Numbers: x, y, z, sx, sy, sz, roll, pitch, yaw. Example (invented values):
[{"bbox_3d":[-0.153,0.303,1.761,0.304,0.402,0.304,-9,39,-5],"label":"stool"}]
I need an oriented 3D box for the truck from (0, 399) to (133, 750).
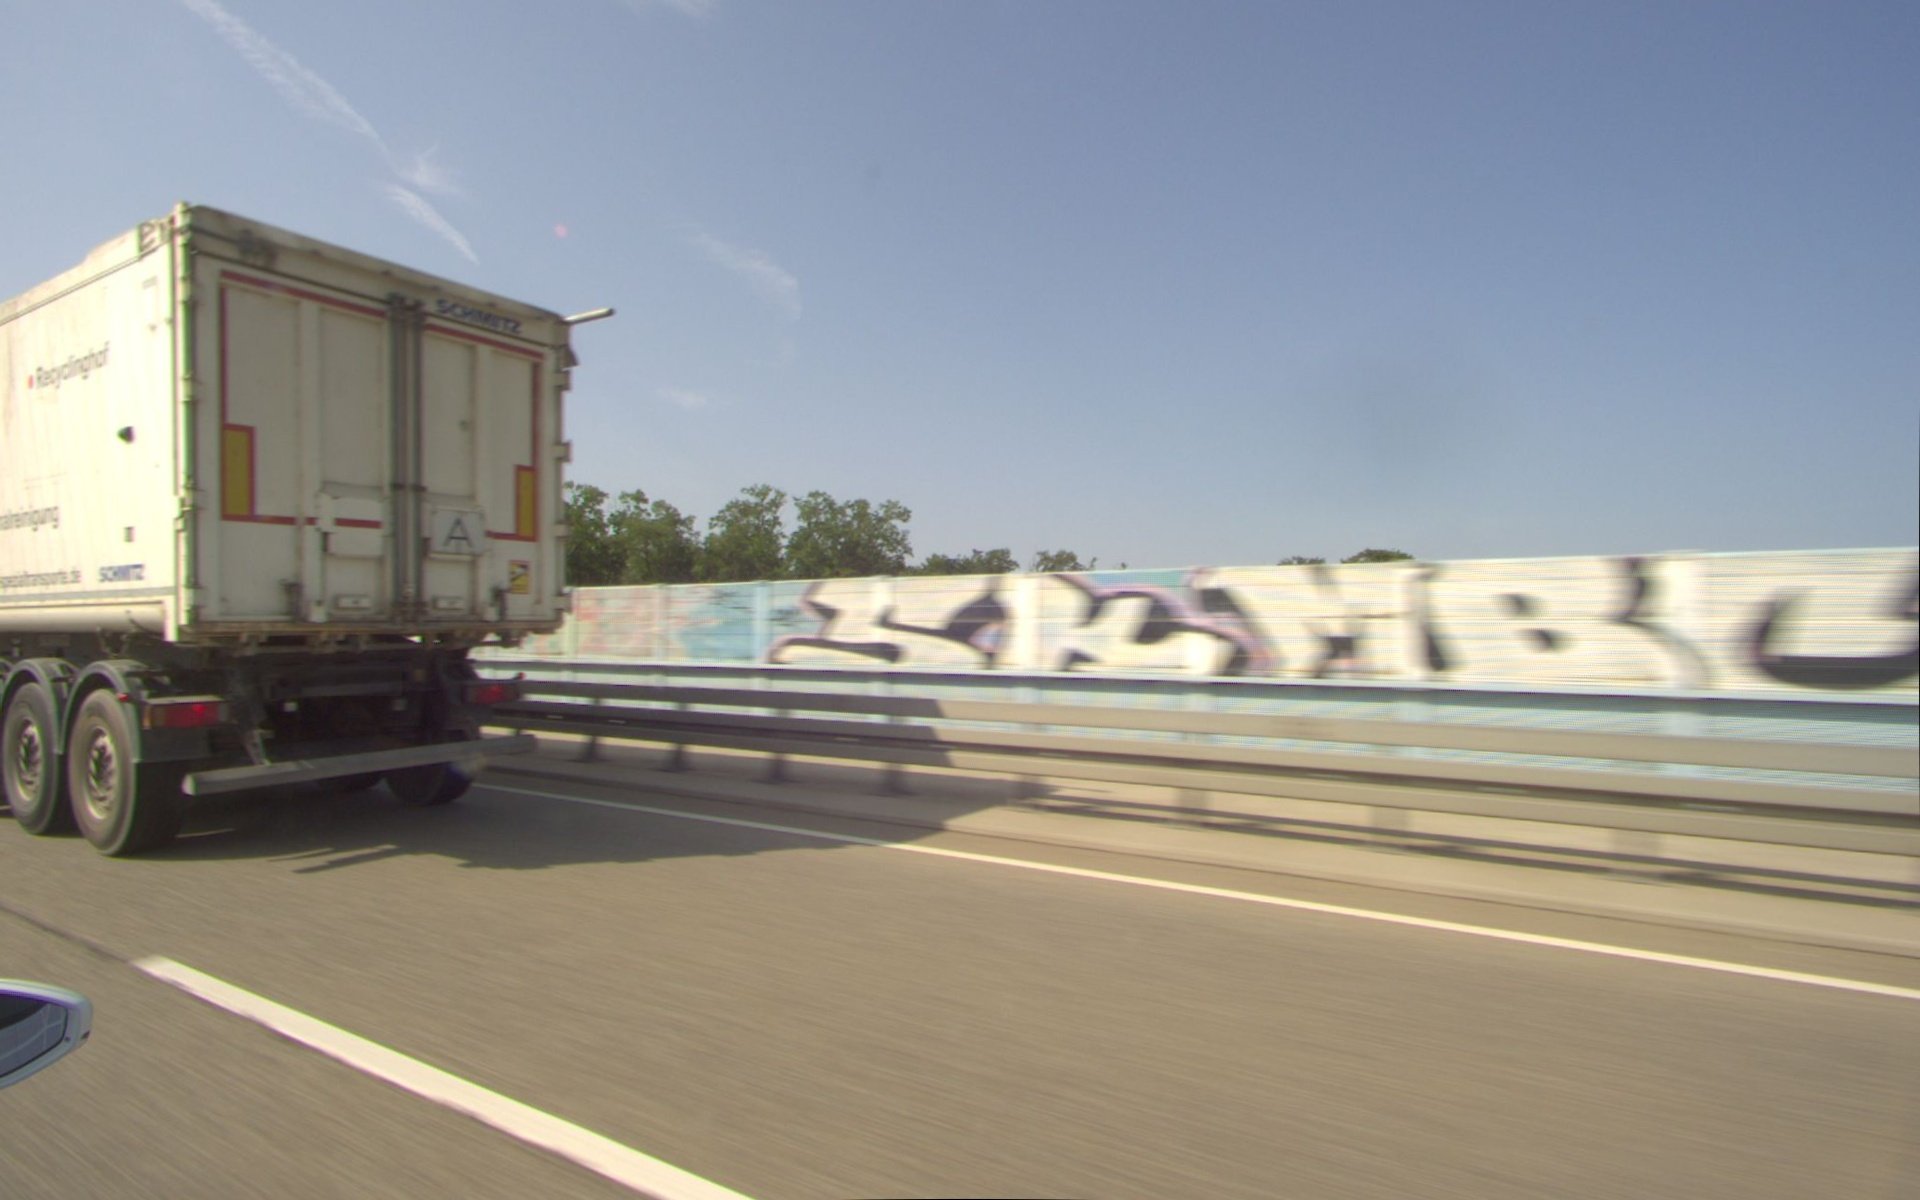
[{"bbox_3d":[-13.227,-0.291,12.654,5.566,3.946,2.654,0,-1,32],"label":"truck"}]

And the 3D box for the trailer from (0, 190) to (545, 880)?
[{"bbox_3d":[-8.072,-0.326,9.438,9.533,3.958,2.675,0,-1,32],"label":"trailer"}]
